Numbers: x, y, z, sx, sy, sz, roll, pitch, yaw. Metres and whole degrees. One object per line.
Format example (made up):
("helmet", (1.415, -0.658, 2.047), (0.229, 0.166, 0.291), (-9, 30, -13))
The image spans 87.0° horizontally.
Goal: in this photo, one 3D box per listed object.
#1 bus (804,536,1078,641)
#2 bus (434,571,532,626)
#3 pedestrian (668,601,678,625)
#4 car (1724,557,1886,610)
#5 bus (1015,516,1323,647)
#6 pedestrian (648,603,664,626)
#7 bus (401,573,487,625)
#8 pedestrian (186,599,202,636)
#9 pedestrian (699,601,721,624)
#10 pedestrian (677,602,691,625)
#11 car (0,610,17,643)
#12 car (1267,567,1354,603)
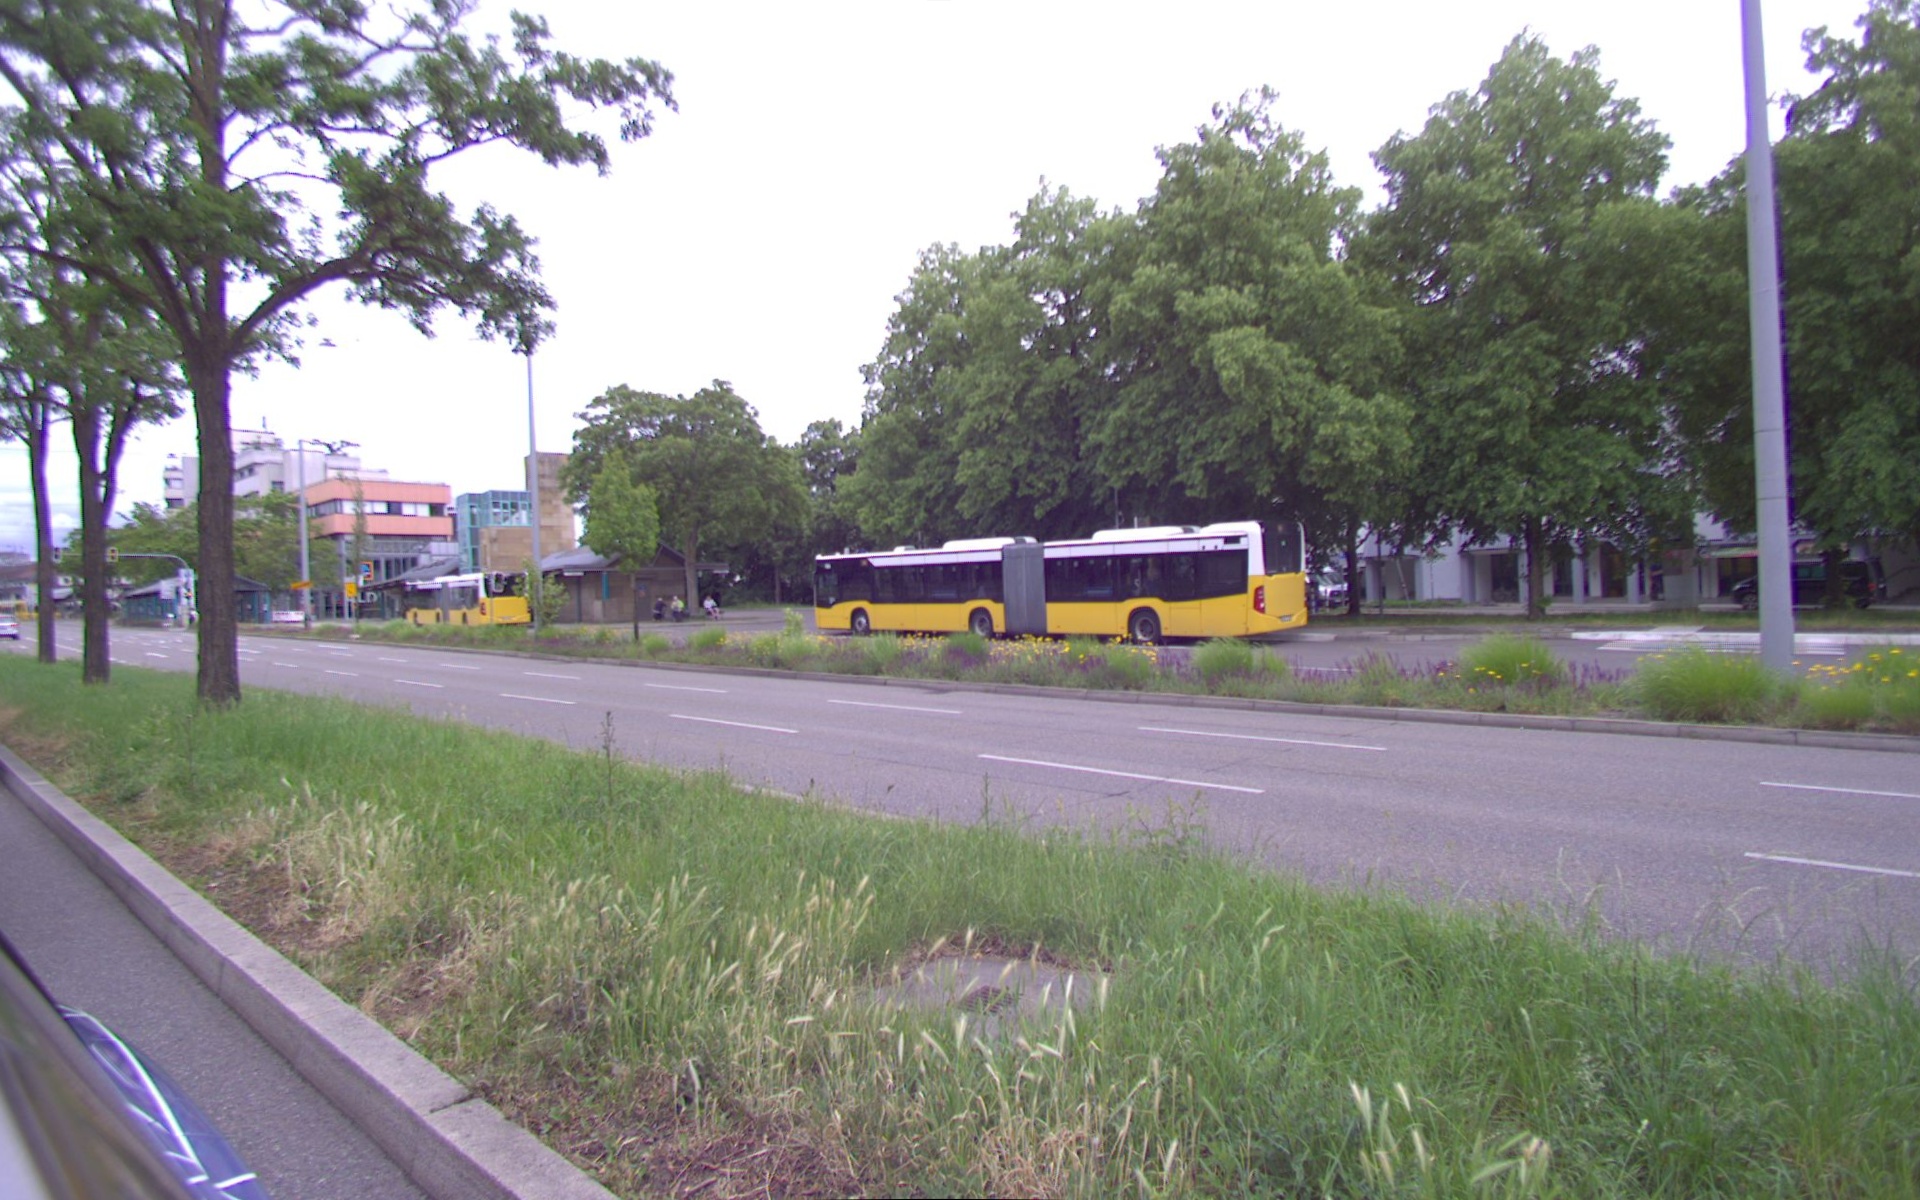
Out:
("bus", (-1.005, -0.273, 33.935), (2.848, 3.025, 10.401), (-1, 0, -44))
("bus", (-26.696, -0.019, 56.355), (2.845, 2.830, 9.192), (-1, 0, -39))
("pedestrian", (-14.548, 0.661, 51.263), (0.361, 1.175, 0.900), (-1, 0, -23))
("car", (32.139, -0.584, 38.618), (1.758, 1.861, 4.429), (-1, 0, -35))
("bus", (5.364, -0.388, 27.320), (2.848, 3.025, 7.889), (-1, 0, -44))
("pedestrian", (-15.912, 0.756, 52.950), (0.590, 1.171, 0.745), (-1, 0, -32))
("bus", (-32.322, 0.006, 63.167), (2.846, 3.025, 9.191), (-1, 0, -39))
("pedestrian", (-59.194, 1.331, 78.214), (0.889, 2.809, 1.150), (-1, 0, -36))
("pedestrian", (-12.857, 0.647, 52.027), (0.924, 1.180, 0.641), (-1, 0, 41))
("pedestrian", (-14.051, 0.692, 51.465), (0.589, 1.171, 0.745), (-1, 0, -23))
("car", (-60.956, 1.679, 63.938), (4.000, 2.029, 1.703), (-1, 0, 43))
("car", (17.931, -0.762, 51.916), (1.663, 1.763, 4.010), (-1, 0, -36))
